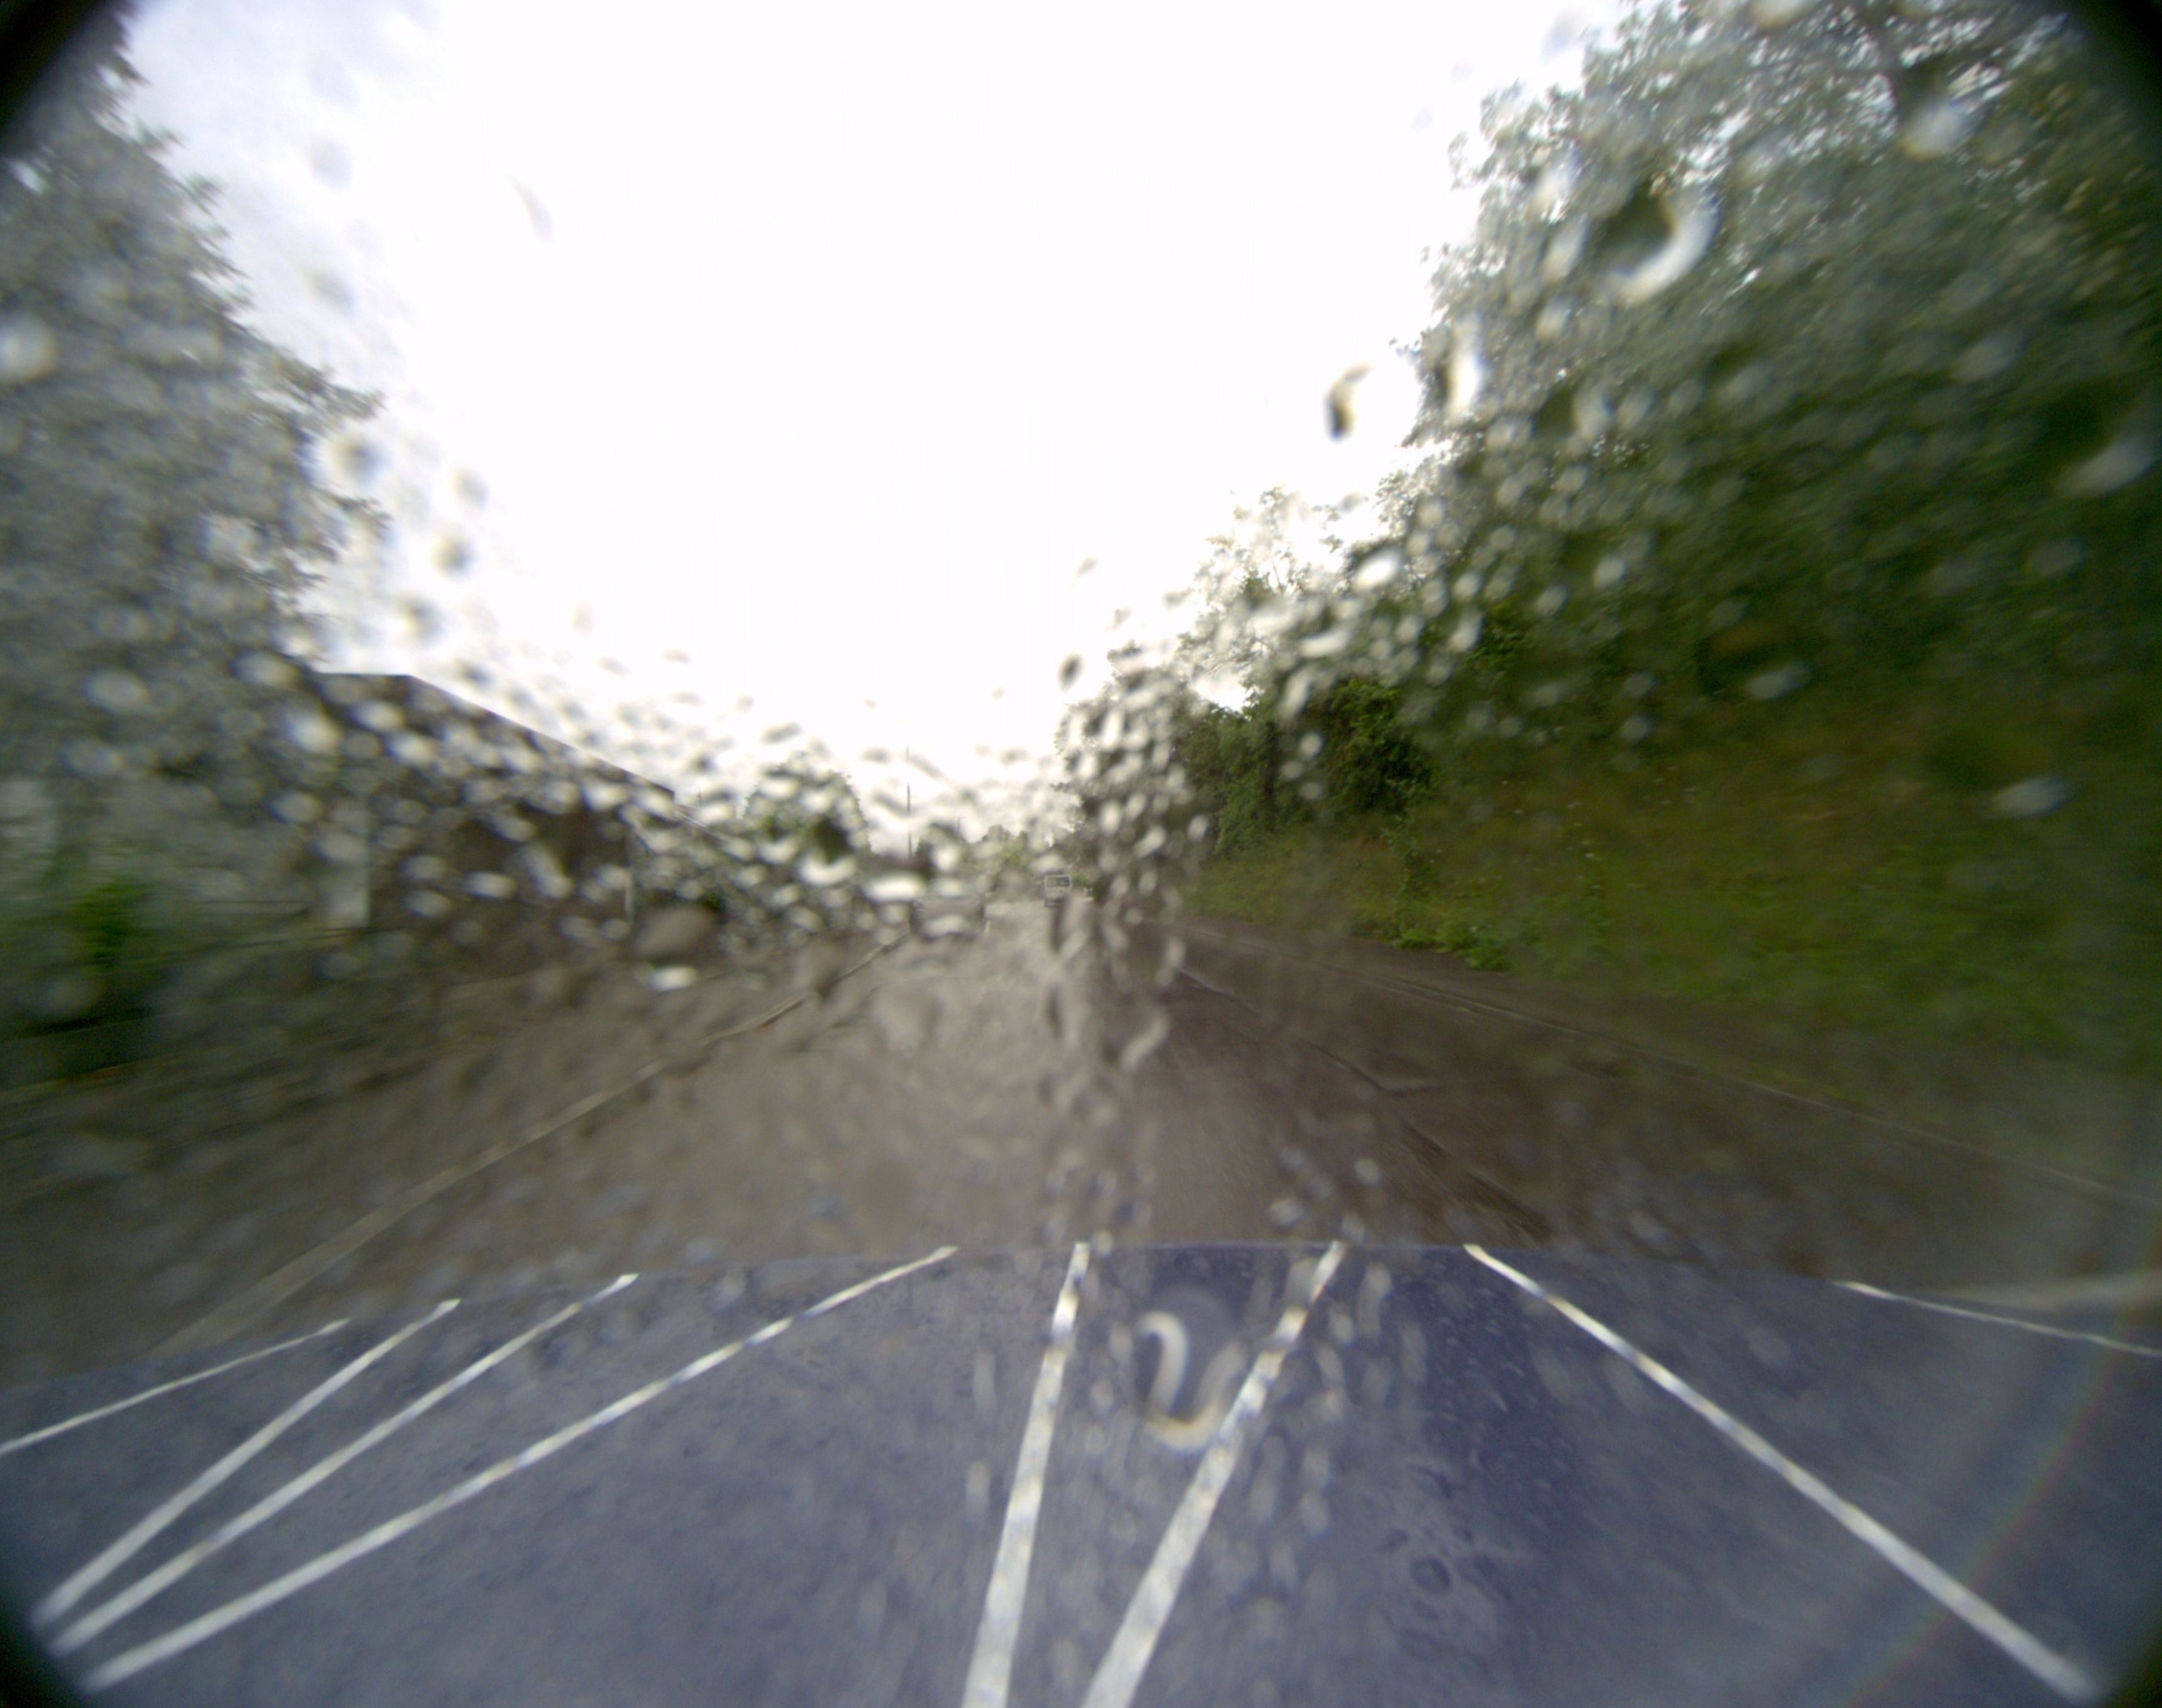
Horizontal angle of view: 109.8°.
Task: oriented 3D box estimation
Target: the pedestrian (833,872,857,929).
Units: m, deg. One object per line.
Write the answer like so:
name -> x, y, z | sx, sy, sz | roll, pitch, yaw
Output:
pedestrian -> -6.853, 1.346, 22.066 | 0.537, 1.623, 0.506 | -2, -2, -8

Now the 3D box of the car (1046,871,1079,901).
car -> -1.320, 2.207, 52.649 | 2.117, 1.962, 5.174 | -1, -2, -2

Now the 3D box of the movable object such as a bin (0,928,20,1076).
movable object such as a bin -> -7.964, 1.061, 4.995 | 0.796, 1.034, 0.779 | -5, -2, -8

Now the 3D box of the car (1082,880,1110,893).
car -> 1.888, 4.030, 94.032 | 1.797, 1.459, 4.224 | -4, -2, 27

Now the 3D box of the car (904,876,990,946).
car -> -3.410, 1.426, 20.061 | 1.881, 1.582, 4.479 | -2, -2, -6

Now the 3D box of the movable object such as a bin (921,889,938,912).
movable object such as a bin -> -7.445, 2.283, 37.298 | 0.741, 1.082, 0.600 | 0, -2, -3
